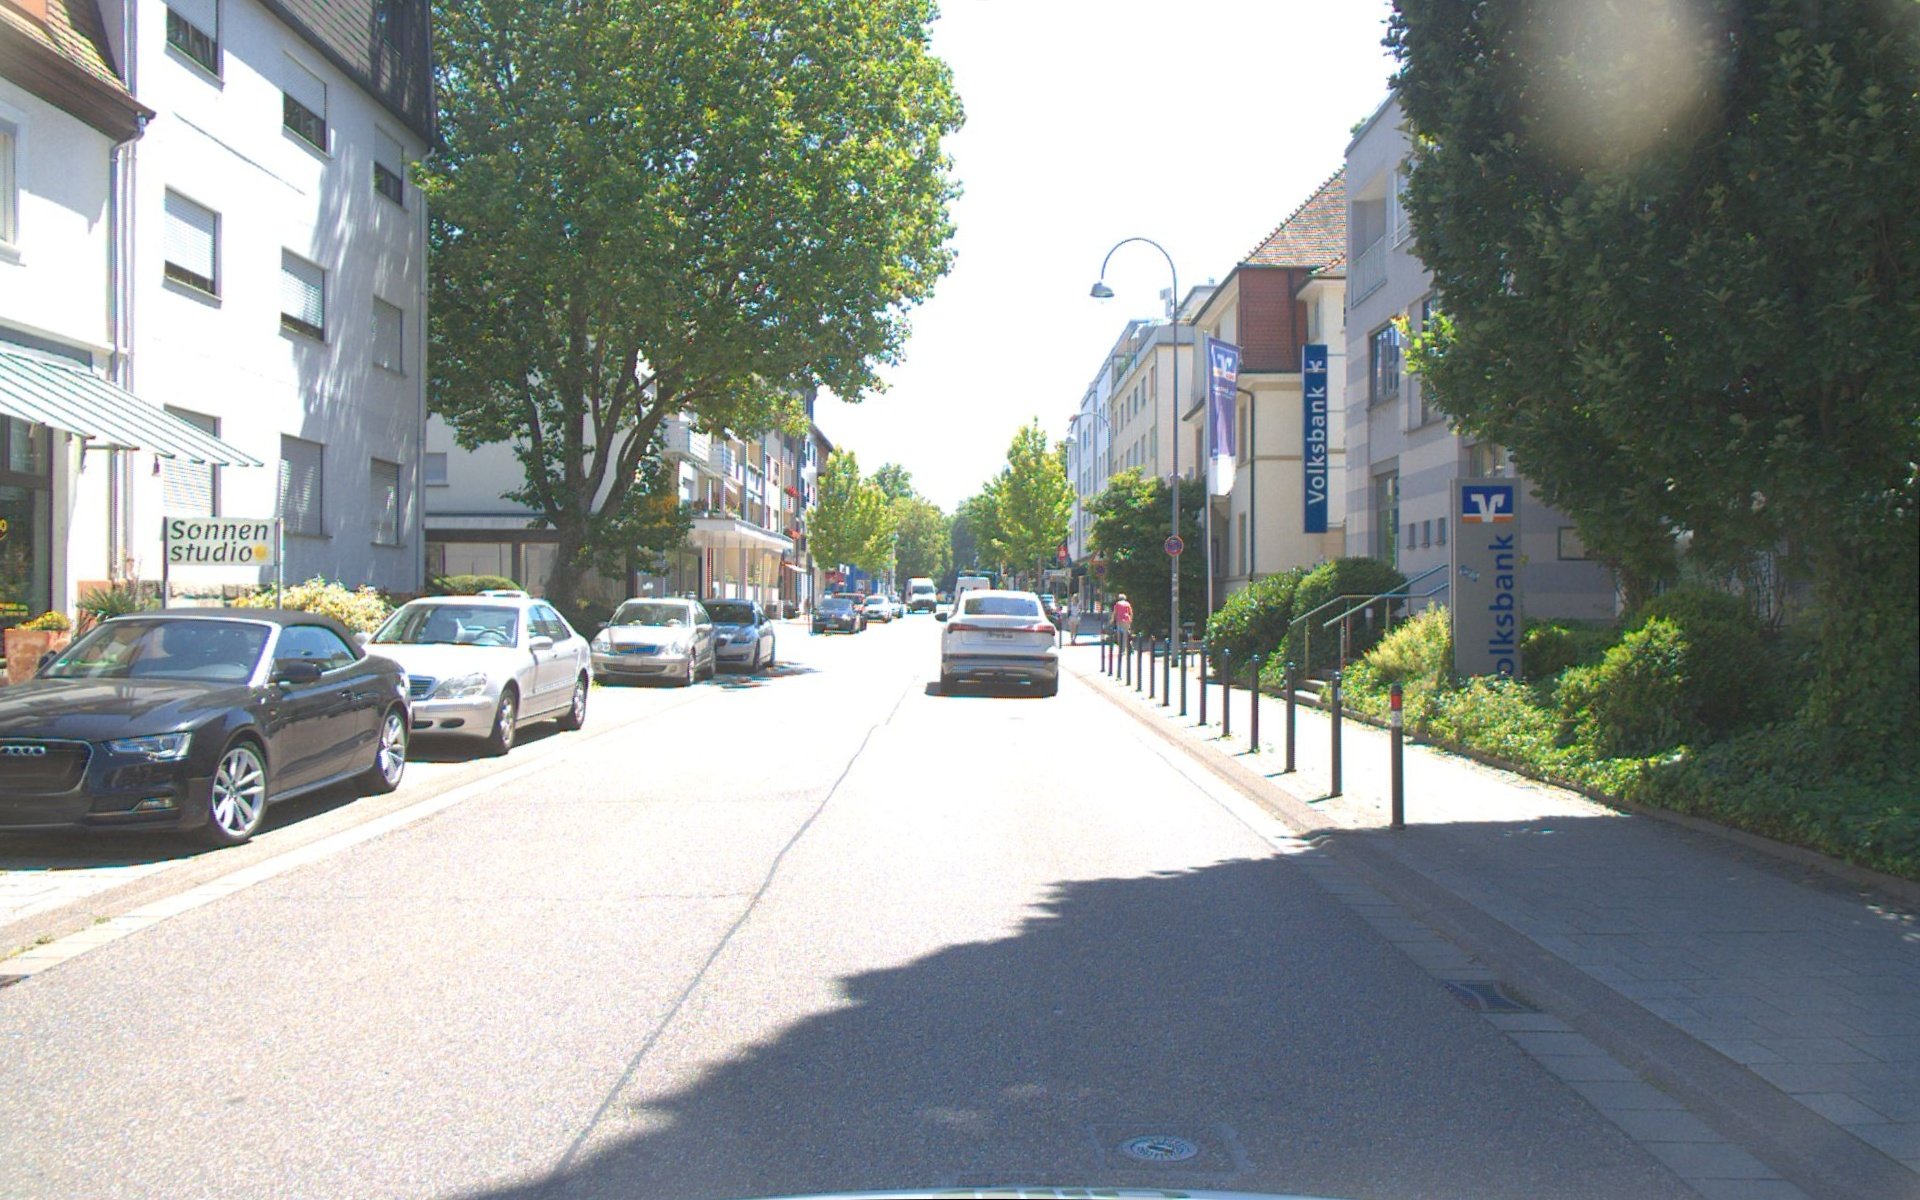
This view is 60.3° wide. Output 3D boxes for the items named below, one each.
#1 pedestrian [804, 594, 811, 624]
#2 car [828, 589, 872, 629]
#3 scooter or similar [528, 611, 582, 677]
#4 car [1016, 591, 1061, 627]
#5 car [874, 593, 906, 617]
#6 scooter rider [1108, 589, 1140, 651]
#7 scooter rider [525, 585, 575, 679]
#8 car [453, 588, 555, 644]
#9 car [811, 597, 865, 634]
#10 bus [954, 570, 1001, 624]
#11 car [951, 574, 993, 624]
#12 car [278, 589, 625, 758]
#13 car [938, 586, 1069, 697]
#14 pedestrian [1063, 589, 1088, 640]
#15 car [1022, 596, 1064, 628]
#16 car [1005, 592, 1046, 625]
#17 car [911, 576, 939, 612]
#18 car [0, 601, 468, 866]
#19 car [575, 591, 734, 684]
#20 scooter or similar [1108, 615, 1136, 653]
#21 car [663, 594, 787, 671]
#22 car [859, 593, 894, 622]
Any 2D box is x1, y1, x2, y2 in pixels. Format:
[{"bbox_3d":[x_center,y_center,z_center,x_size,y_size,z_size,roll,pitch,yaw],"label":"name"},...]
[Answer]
[{"bbox_3d":[-8.837,0.524,95.919,0.387,1.765,0.444,0,0,-11],"label":"pedestrian"},{"bbox_3d":[-5.084,0.398,76.746,1.717,1.732,4.101,2,0,0],"label":"car"},{"bbox_3d":[-7.195,0.778,29.413,0.649,1.117,1.028,2,0,1],"label":"scooter or similar"},{"bbox_3d":[3.926,0.428,83.595,1.858,1.704,4.689,-1,0,-2],"label":"car"},{"bbox_3d":[-4.671,0.342,110.925,1.716,1.478,4.402,2,0,2],"label":"car"},{"bbox_3d":[4.237,0.516,42.756,0.701,1.576,0.770,-1,0,-2],"label":"scooter rider"},{"bbox_3d":[-7.188,0.546,29.030,0.576,1.602,0.877,2,0,1],"label":"scooter rider"},{"bbox_3d":[-12.951,0.423,46.844,1.871,1.512,3.955,0,0,-30],"label":"car"},{"bbox_3d":[-5.147,0.633,70.271,1.857,1.442,5.047,2,0,0],"label":"car"},{"bbox_3d":[1.174,-0.174,105.891,2.605,3.277,7.303,2,0,3],"label":"bus"},{"bbox_3d":[0.641,-0.028,87.429,2.112,2.484,5.283,2,0,0],"label":"car"},{"bbox_3d":[-5.122,0.656,17.576,1.940,1.477,5.358,1,0,1],"label":"car"},{"bbox_3d":[0.647,0.631,27.449,1.953,1.661,3.999,2,0,-1],"label":"car"},{"bbox_3d":[3.789,0.472,54.292,0.686,1.655,0.783,-3,0,-1],"label":"pedestrian"},{"bbox_3d":[3.861,0.531,77.454,1.857,1.463,4.545,0,0,2],"label":"car"},{"bbox_3d":[3.521,0.431,88.940,1.818,1.704,4.535,-1,0,-2],"label":"car"},{"bbox_3d":[-2.762,-0.467,129.040,1.995,2.676,7.104,-2,0,-2],"label":"car"},{"bbox_3d":[-5.175,0.723,11.506,1.902,1.397,5.098,1,0,1],"label":"car"},{"bbox_3d":[-5.298,0.599,29.300,1.941,1.477,4.867,1,0,-1],"label":"car"},{"bbox_3d":[4.240,0.887,43.408,0.649,0.980,0.754,0,0,0],"label":"scooter or similar"},{"bbox_3d":[-4.894,0.631,35.195,1.941,1.477,5.150,1,0,-1],"label":"car"},{"bbox_3d":[-5.013,0.413,100.058,1.716,1.646,4.401,2,0,1],"label":"car"}]
